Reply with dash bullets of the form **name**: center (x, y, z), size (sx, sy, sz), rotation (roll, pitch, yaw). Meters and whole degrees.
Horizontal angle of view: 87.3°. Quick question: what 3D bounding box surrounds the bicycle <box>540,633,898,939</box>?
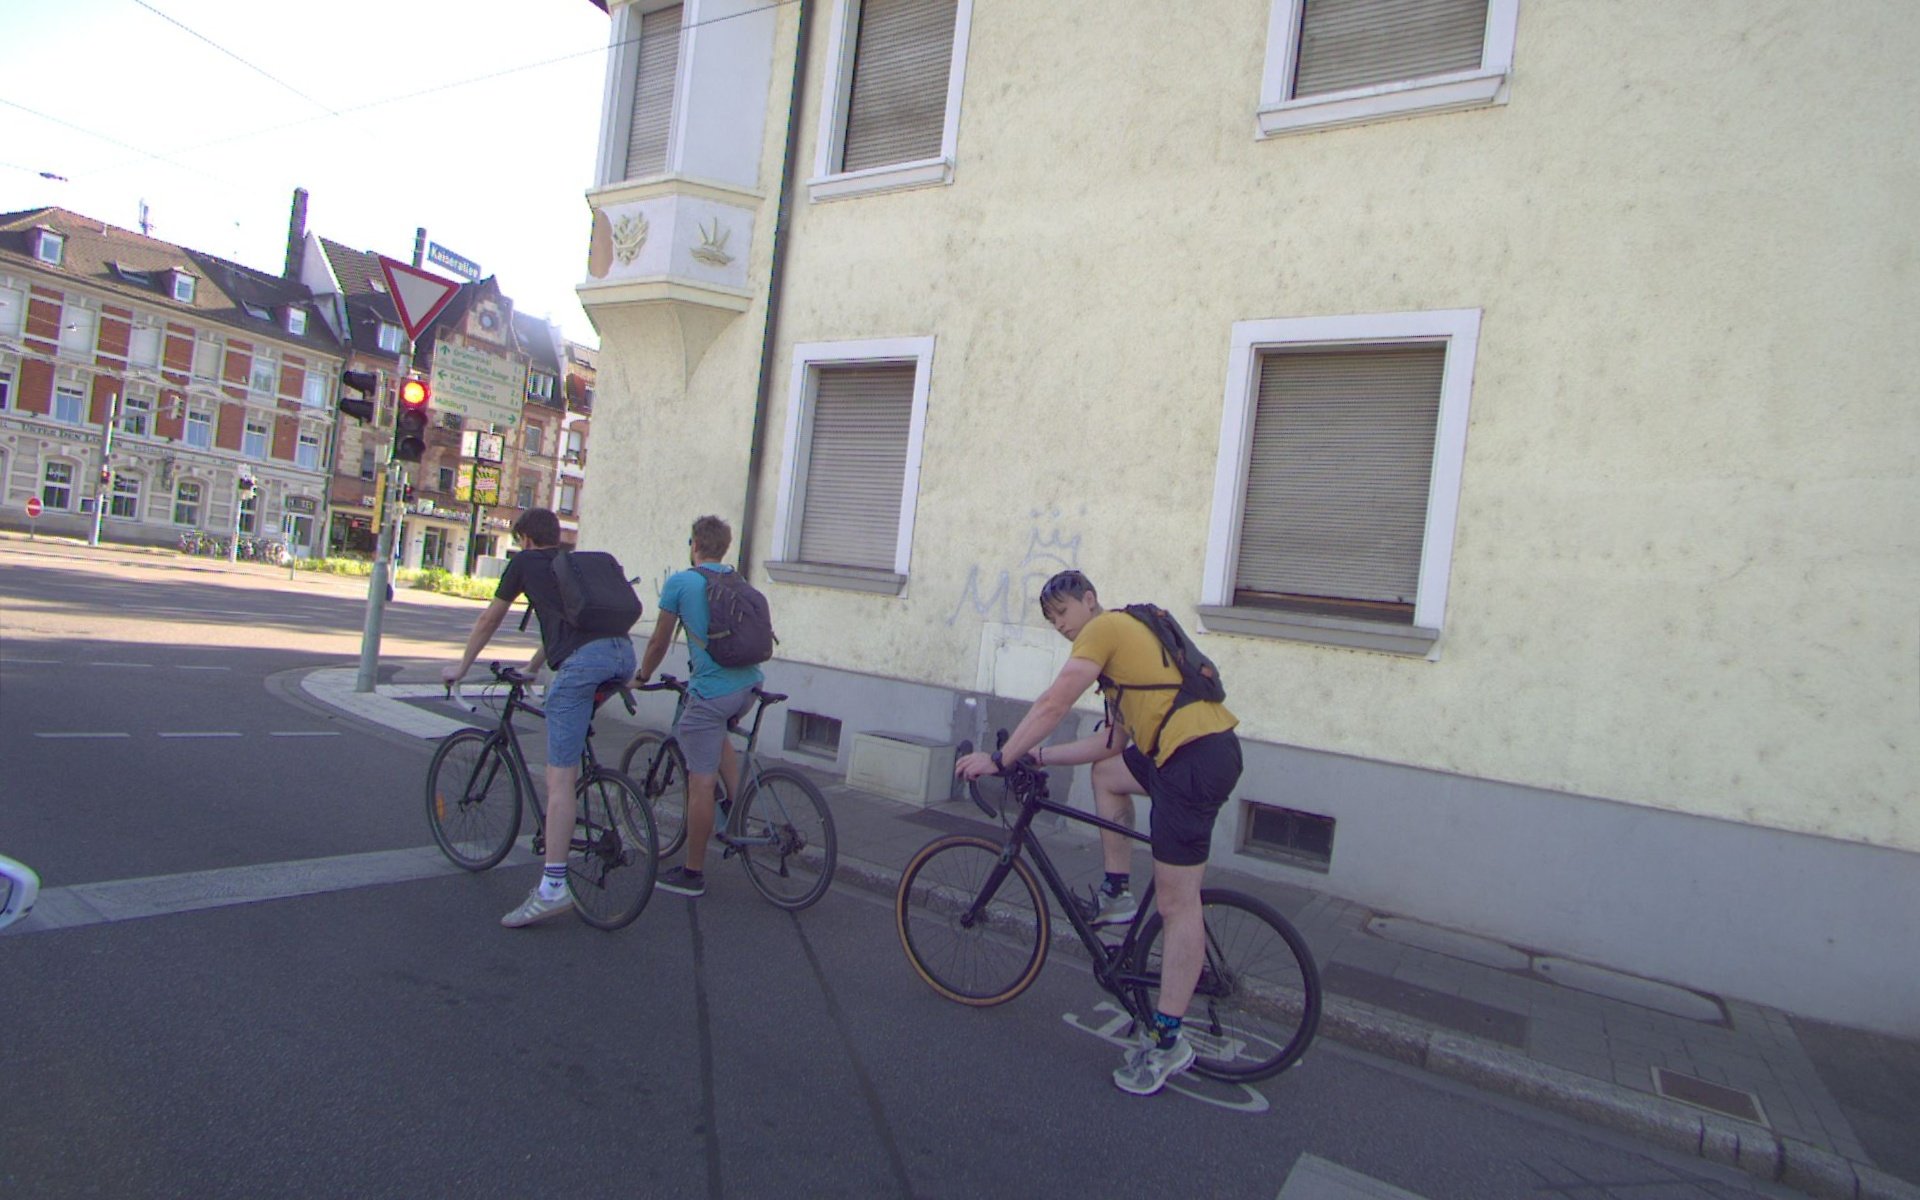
- **bicycle**: center (-1.309, 0.881, 5.283), size (1.858, 1.180, 0.571), rotation (7, 0, 32)

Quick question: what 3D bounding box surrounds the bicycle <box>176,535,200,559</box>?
- **bicycle**: center (-35.067, -2.410, 45.665), size (1.759, 0.925, 0.485), rotation (7, 0, 42)

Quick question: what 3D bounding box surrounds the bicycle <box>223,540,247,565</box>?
- **bicycle**: center (-34.004, -2.246, 47.171), size (1.759, 1.033, 0.485), rotation (7, 0, 42)

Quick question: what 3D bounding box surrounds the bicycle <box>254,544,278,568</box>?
- **bicycle**: center (-33.313, -2.110, 48.291), size (1.759, 1.033, 0.485), rotation (7, 0, 42)

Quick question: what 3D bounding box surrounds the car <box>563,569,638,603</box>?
- **car**: center (-23.277, -0.891, 65.289), size (1.966, 1.641, 4.261), rotation (7, -1, 29)

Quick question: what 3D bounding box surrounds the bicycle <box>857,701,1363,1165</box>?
- **bicycle**: center (0.513, 1.094, 3.775), size (1.670, 1.180, 0.571), rotation (7, 0, 32)

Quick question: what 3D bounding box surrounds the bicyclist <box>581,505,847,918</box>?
- **bicyclist**: center (-1.286, 0.527, 5.273), size (0.978, 1.910, 0.652), rotation (7, 0, 32)

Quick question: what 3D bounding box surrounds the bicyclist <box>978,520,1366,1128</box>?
- **bicyclist**: center (0.772, 0.700, 3.659), size (1.019, 1.839, 0.652), rotation (7, 0, 32)

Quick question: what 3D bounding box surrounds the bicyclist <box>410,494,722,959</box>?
- **bicyclist**: center (-1.750, 0.495, 4.472), size (0.978, 1.788, 0.652), rotation (7, 0, 32)

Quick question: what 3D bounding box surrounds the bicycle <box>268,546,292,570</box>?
- **bicycle**: center (-33.094, -2.054, 48.979), size (1.759, 1.033, 0.485), rotation (7, 0, 42)

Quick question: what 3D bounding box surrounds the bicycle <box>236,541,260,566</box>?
- **bicycle**: center (-33.676, -2.187, 47.563), size (1.759, 1.033, 0.485), rotation (7, 0, 42)

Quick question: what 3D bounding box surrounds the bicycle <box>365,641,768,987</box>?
- **bicycle**: center (-1.798, 0.838, 4.470), size (1.858, 1.071, 0.571), rotation (7, 0, 32)

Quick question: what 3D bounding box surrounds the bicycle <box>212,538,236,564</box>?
- **bicycle**: center (-34.191, -2.288, 46.748), size (1.759, 1.033, 0.485), rotation (7, 0, 42)

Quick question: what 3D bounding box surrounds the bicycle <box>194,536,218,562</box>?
- **bicycle**: center (-34.642, -2.336, 46.202), size (1.759, 1.033, 0.485), rotation (7, 0, 42)
